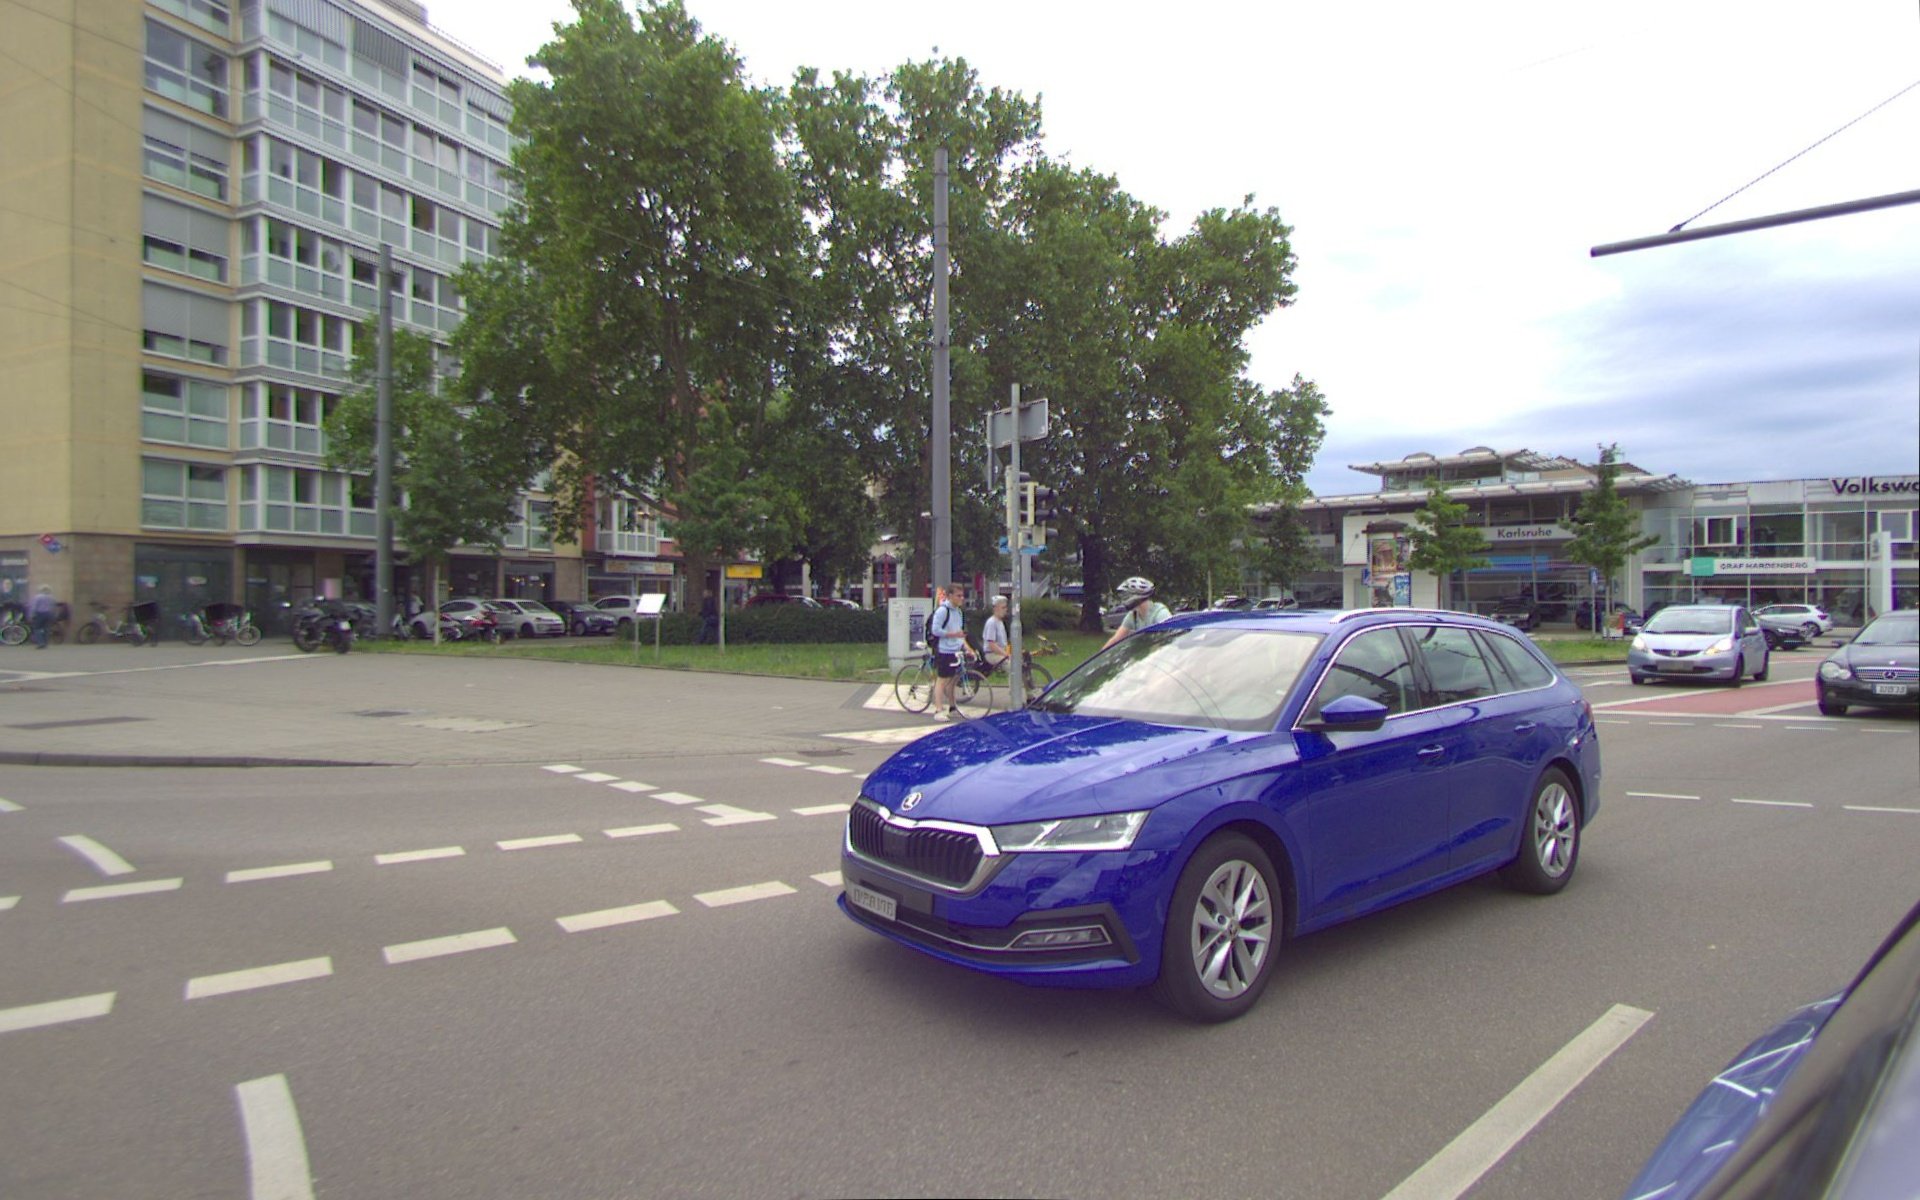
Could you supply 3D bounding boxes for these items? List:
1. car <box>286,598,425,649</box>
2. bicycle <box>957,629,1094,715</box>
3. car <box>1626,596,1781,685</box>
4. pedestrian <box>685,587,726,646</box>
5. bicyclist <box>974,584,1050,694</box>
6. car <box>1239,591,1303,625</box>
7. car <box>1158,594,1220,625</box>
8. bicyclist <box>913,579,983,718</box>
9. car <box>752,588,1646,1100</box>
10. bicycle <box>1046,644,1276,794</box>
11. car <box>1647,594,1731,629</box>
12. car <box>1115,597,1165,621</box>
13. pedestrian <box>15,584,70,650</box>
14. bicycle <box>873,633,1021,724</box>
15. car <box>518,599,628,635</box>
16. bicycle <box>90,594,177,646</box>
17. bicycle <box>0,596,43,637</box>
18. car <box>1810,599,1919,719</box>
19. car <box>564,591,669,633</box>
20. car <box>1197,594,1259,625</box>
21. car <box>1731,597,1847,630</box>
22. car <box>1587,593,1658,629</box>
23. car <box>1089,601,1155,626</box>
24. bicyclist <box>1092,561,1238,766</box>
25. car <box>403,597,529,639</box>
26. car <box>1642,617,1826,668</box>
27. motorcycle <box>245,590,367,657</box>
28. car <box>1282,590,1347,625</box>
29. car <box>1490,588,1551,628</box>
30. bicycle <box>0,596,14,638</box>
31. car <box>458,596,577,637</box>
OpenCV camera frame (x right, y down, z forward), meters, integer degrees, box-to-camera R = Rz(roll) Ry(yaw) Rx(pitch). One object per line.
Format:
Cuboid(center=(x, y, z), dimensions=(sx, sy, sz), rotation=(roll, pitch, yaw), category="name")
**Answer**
Cuboid(center=(-19.383, 0.706, 32.435), dimensions=(4.122, 1.461, 1.826), rotation=(1, 1, 25), category="car")
Cuboid(center=(0.925, 1.008, 14.637), dimensions=(1.936, 1.010, 0.594), rotation=(4, 3, 38), category="bicycle")
Cuboid(center=(14.092, 0.704, 19.103), dimensions=(3.868, 1.502, 1.705), rotation=(0, -1, -44), category="car")
Cuboid(center=(-8.036, 0.506, 31.942), dimensions=(0.860, 1.842, 0.887), rotation=(0, 0, 33), category="pedestrian")
Cuboid(center=(0.756, 0.541, 14.809), dimensions=(0.881, 1.541, 0.663), rotation=(1, 1, 38), category="bicyclist")
Cuboid(center=(19.023, 0.444, 61.783), dimensions=(1.952, 1.615, 4.166), rotation=(0, 6, 45), category="car")
Cuboid(center=(14.834, 0.566, 65.488), dimensions=(1.952, 1.530, 4.166), rotation=(0, 6, 45), category="car")
Cuboid(center=(-0.164, 0.620, 13.533), dimensions=(0.729, 1.773, 0.580), rotation=(2, 2, 31), category="bicyclist")
Cuboid(center=(1.498, 0.701, 5.025), dimensions=(4.669, 1.454, 1.770), rotation=(0, -1, -38), category="car")
Cuboid(center=(1.752, 0.956, 8.699), dimensions=(1.978, 1.093, 0.763), rotation=(0, -2, -35), category="bicycle")
Cuboid(center=(34.220, 0.500, 47.620), dimensions=(1.764, 1.580, 4.018), rotation=(0, 0, 13), category="car")
Cuboid(center=(12.379, 0.593, 69.554), dimensions=(1.418, 1.531, 3.114), rotation=(-6, 4, -44), category="car")
Cuboid(center=(-25.060, 0.448, 27.633), dimensions=(0.896, 1.759, 0.807), rotation=(0, 0, 23), category="pedestrian")
Cuboid(center=(-0.197, 1.015, 13.552), dimensions=(1.977, 1.010, 0.573), rotation=(2, 3, 31), category="bicycle")
Cuboid(center=(-15.881, 0.674, 41.591), dimensions=(3.945, 1.352, 1.827), rotation=(1, 0, 17), category="car")
Cuboid(center=(-23.116, 0.543, 28.283), dimensions=(2.757, 1.395, 0.895), rotation=(0, 0, 28), category="bicycle")
Cuboid(center=(-28.476, 0.485, 30.338), dimensions=(2.017, 1.183, 0.665), rotation=(1, 0, 23), category="bicycle")
Cuboid(center=(13.294, 0.708, 13.687), dimensions=(4.340, 1.388, 1.770), rotation=(-1, -1, -37), category="car")
Cuboid(center=(-14.850, 0.488, 43.825), dimensions=(3.945, 1.745, 1.989), rotation=(0, 0, 17), category="car")
Cuboid(center=(16.896, 0.556, 63.700), dimensions=(1.952, 1.484, 4.165), rotation=(0, 5, 45), category="car")
Cuboid(center=(37.808, 0.578, 46.222), dimensions=(1.703, 1.459, 3.899), rotation=(0, 0, -42), category="car")
Cuboid(center=(31.724, 0.492, 48.550), dimensions=(1.933, 1.544, 4.202), rotation=(0, 1, 20), category="car")
Cuboid(center=(10.828, 0.873, 67.856), dimensions=(1.629, 1.531, 4.139), rotation=(-6, 4, -44), category="car")
Cuboid(center=(1.762, 0.515, 8.722), dimensions=(0.916, 1.639, 0.791), rotation=(0, -2, -36), category="bicyclist")
Cuboid(center=(-18.157, 0.630, 37.225), dimensions=(3.947, 1.482, 1.988), rotation=(0, 0, 19), category="car")
Cuboid(center=(27.403, 1.446, 35.989), dimensions=(1.855, 1.563, 4.882), rotation=(0, 1, -35), category="car")
Cuboid(center=(-14.849, 0.507, 23.002), dimensions=(2.261, 1.382, 1.042), rotation=(0, 5, 17), category="motorcycle")
Cuboid(center=(20.929, 0.410, 59.692), dimensions=(1.952, 1.472, 4.168), rotation=(0, 8, 45), category="car")
Cuboid(center=(28.652, 0.375, 51.665), dimensions=(1.948, 1.662, 4.612), rotation=(0, 4, 39), category="car")
Cuboid(center=(-28.767, 0.485, 29.711), dimensions=(2.017, 1.183, 0.665), rotation=(1, 0, 23), category="bicycle")
Cuboid(center=(-17.345, 0.612, 39.713), dimensions=(3.945, 1.460, 1.990), rotation=(1, 0, 17), category="car")
